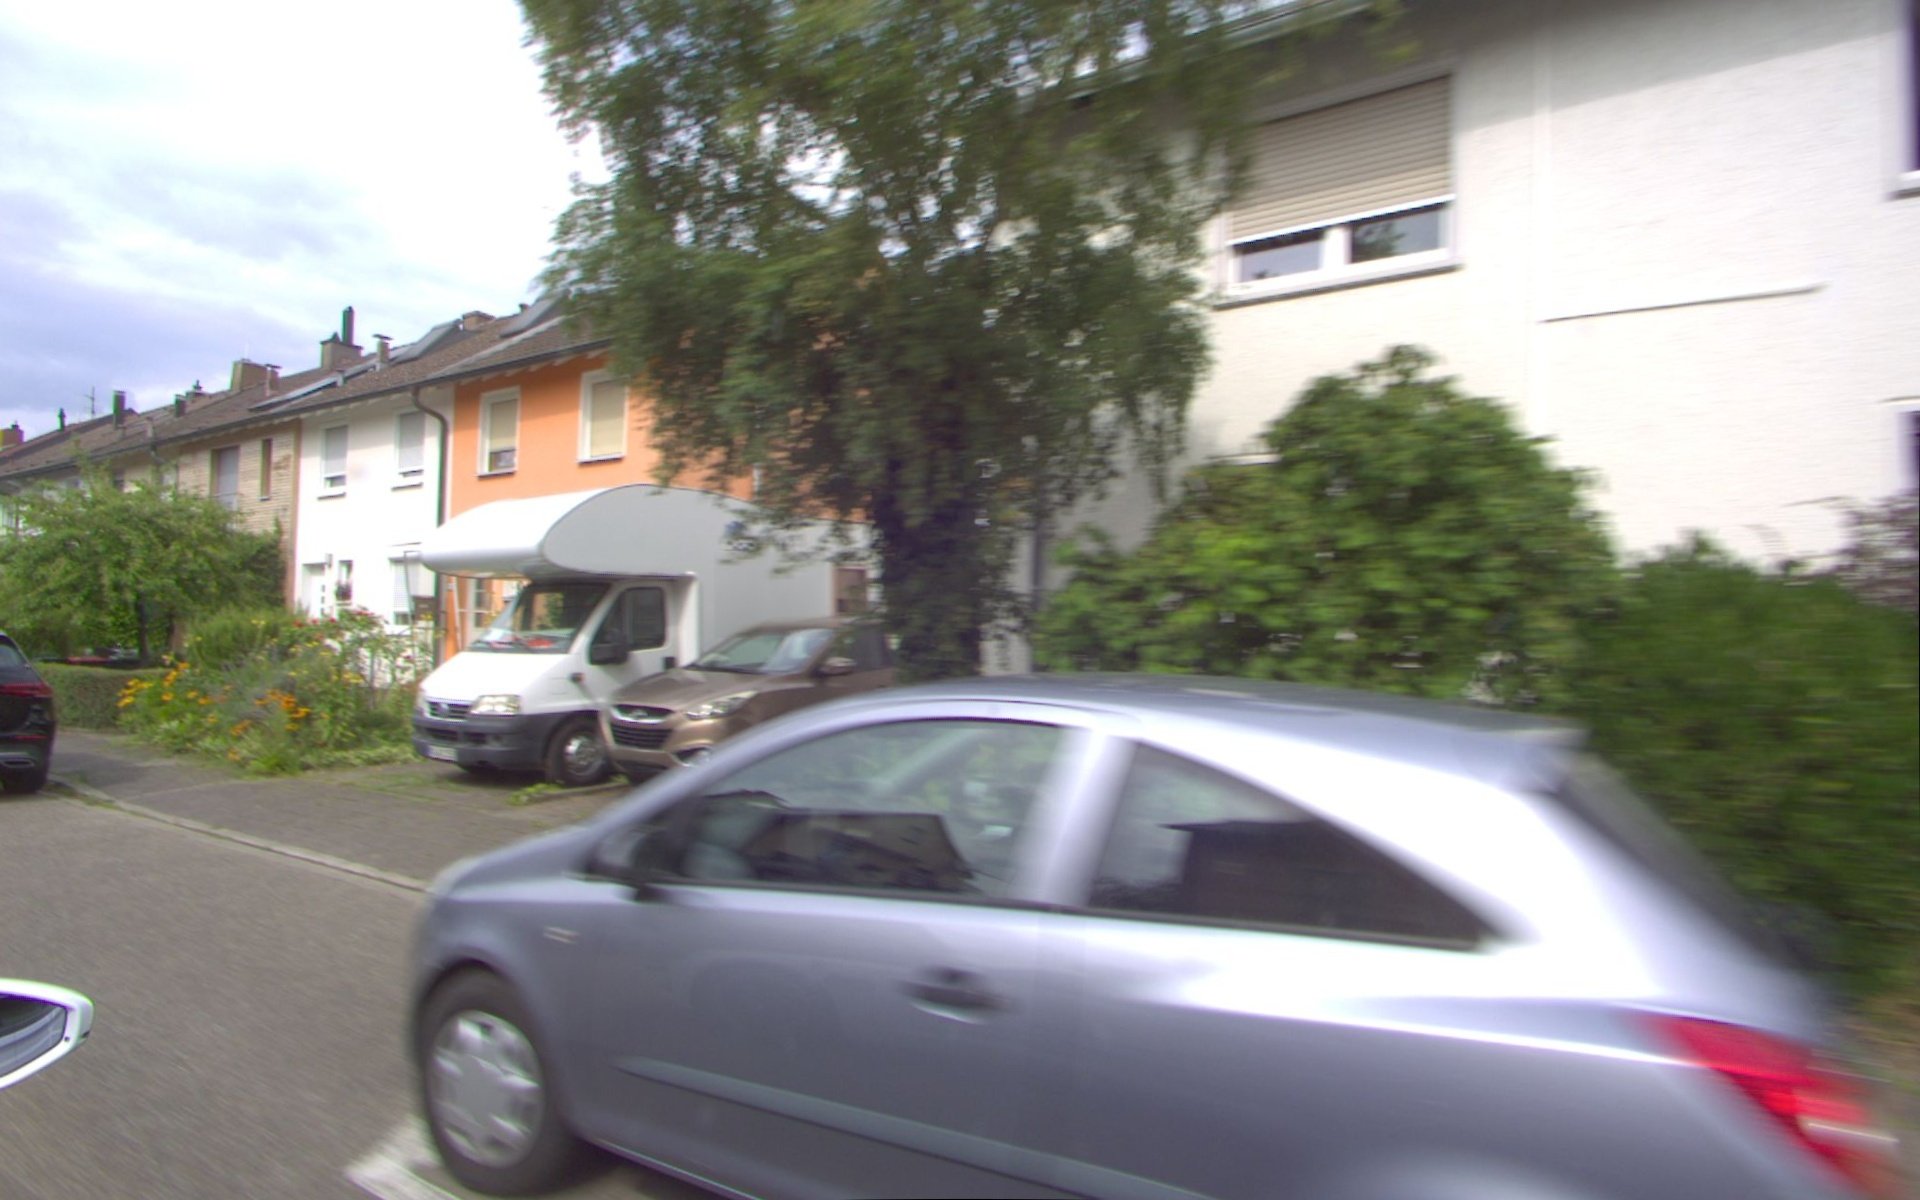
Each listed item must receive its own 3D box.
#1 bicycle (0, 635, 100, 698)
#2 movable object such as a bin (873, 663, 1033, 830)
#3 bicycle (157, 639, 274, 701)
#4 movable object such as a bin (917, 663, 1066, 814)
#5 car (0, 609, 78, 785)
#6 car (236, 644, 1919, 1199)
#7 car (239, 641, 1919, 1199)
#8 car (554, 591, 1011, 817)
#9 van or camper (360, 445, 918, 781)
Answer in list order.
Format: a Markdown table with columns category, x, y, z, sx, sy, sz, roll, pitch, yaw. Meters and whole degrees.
| category | x | y | z | sx | sy | sz | roll | pitch | yaw |
| --- | --- | --- | --- | --- | --- | --- | --- | --- | --- |
| bicycle | -15.578 | 1.117 | 16.904 | 0.371 | 1.036 | 1.534 | 1 | -2 | 37 |
| movable object such as a bin | -0.055 | 1.149 | 8.175 | 1.084 | 1.209 | 0.718 | 0 | -1 | 33 |
| bicycle | -12.901 | 1.202 | 17.364 | 1.720 | 0.995 | 0.661 | 1 | -1 | 13 |
| movable object such as a bin | 0.273 | 1.173 | 8.808 | 1.125 | 1.191 | 0.652 | 0 | -1 | 32 |
| car | -10.258 | 0.797 | 9.373 | 4.580 | 1.485 | 1.747 | 0 | -3 | 32 |
| car | -0.095 | 0.945 | 2.900 | 4.155 | 1.489 | 1.740 | 1 | -2 | 31 |
| car | -0.018 | 0.935 | 2.847 | 4.157 | 1.459 | 1.703 | 0 | -4 | 30 |
| car | -1.482 | 0.925 | 10.088 | 1.873 | 1.729 | 4.522 | 0 | -3 | 35 |
| van or camper | -3.253 | 0.230 | 11.593 | 2.503 | 2.854 | 5.785 | 0 | -2 | 35 |
